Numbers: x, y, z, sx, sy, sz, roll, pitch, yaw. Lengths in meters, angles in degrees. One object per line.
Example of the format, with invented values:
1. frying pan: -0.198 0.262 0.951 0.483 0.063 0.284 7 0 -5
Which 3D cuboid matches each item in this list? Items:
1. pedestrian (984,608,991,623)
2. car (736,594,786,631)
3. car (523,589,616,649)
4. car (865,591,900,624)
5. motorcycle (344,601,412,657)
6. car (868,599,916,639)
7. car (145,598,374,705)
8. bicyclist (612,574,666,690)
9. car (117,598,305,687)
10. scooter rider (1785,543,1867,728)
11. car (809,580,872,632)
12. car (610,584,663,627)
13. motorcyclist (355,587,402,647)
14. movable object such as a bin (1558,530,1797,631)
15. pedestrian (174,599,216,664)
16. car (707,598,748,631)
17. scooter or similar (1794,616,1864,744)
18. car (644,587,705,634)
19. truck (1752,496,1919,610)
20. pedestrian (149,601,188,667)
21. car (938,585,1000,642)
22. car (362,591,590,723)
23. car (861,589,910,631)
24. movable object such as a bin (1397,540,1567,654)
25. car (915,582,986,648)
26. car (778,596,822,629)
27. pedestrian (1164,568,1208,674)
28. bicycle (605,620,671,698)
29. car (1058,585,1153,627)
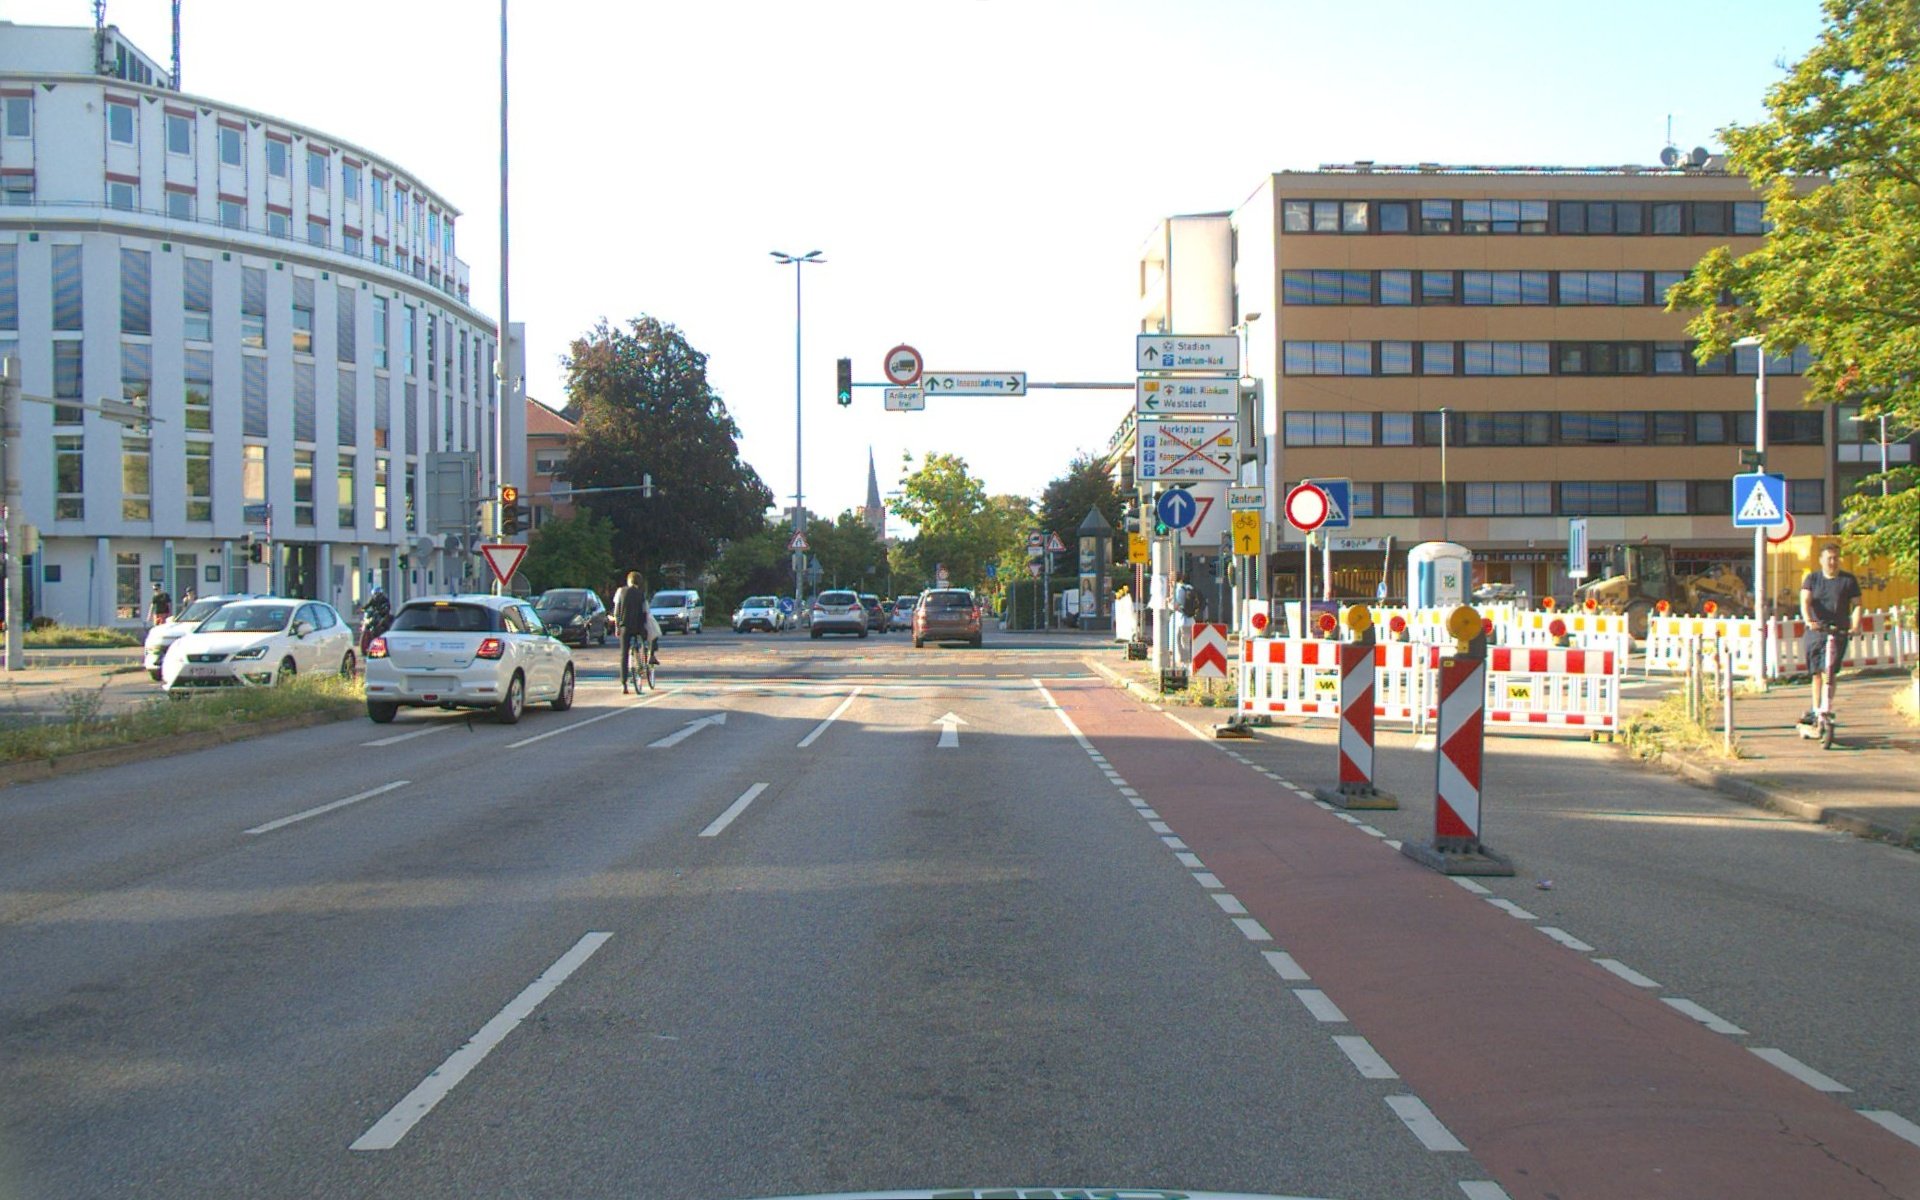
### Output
1. pedestrian: 3.282 1.853 198.166 0.750 1.713 0.999 -1 0 -1
2. car: -8.459 0.501 70.558 1.811 1.487 4.047 -1 0 -3
3. car: -10.385 0.472 44.244 1.624 1.520 3.999 -1 0 -2
4. car: -4.093 0.401 87.577 1.630 1.686 4.000 -1 0 0
5. motorcycle: -14.352 0.687 40.863 0.754 1.307 2.841 -1 0 -2
6. car: -2.902 0.832 71.063 1.953 1.534 3.998 -2 -2 -1
7. car: -10.266 0.695 24.583 1.650 1.416 4.180 -1 0 -1
8. bicyclist: -4.987 0.484 25.728 0.677 1.758 0.987 -1 0 -3
9. car: -14.205 0.755 31.662 1.651 1.525 4.512 -1 0 -2
10. scooter rider: 8.691 0.353 16.610 0.602 1.821 0.487 -1 0 13
11. car: -3.843 0.179 53.550 1.712 1.591 4.050 -1 0 0
12. car: -14.396 0.219 73.810 1.713 1.843 4.047 -1 0 -3
13. motorcyclist: -14.349 0.407 40.839 0.754 1.444 1.238 -1 0 -3
14. movable object such as a bin: 18.956 -0.503 43.884 5.243 2.534 2.547 -1 0 -3
15. pedestrian: -22.151 0.909 47.906 0.743 1.874 0.818 -1 0 25
16. car: -12.580 0.778 89.655 1.843 1.683 4.047 -1 0 -3
17. scooter or similar: 8.707 0.779 16.593 0.323 1.215 1.251 -1 0 14
18. car: -11.655 0.411 67.798 1.877 1.843 4.714 -1 0 -3
19. truck: 25.627 -1.260 44.697 7.187 2.949 2.806 -1 0 -4
20. pedestrian: -22.993 0.985 48.031 0.646 1.891 0.778 -1 0 21
21. car: 0.230 0.398 51.032 1.782 1.668 3.999 -1 0 -1
22. car: -5.933 0.632 20.738 1.650 1.482 4.000 0 0 0
23. car: -2.913 0.373 65.157 1.712 1.591 4.050 -1 0 0
24. movable object such as a bin: 11.576 -0.061 36.797 3.261 2.424 1.528 -1 0 -1
25. car: -0.222 0.362 42.524 1.712 1.591 4.050 -1 0 0
26. car: -7.388 0.556 76.686 1.811 1.487 4.047 -1 0 -3
27. pedestrian: 3.987 0.360 29.093 0.725 1.831 0.716 -1 0 9
28. bicycle: -4.979 0.889 25.724 0.686 1.119 2.256 -1 0 -3
29. car: 6.925 0.287 78.813 4.276 1.910 1.999 -1 0 -2
